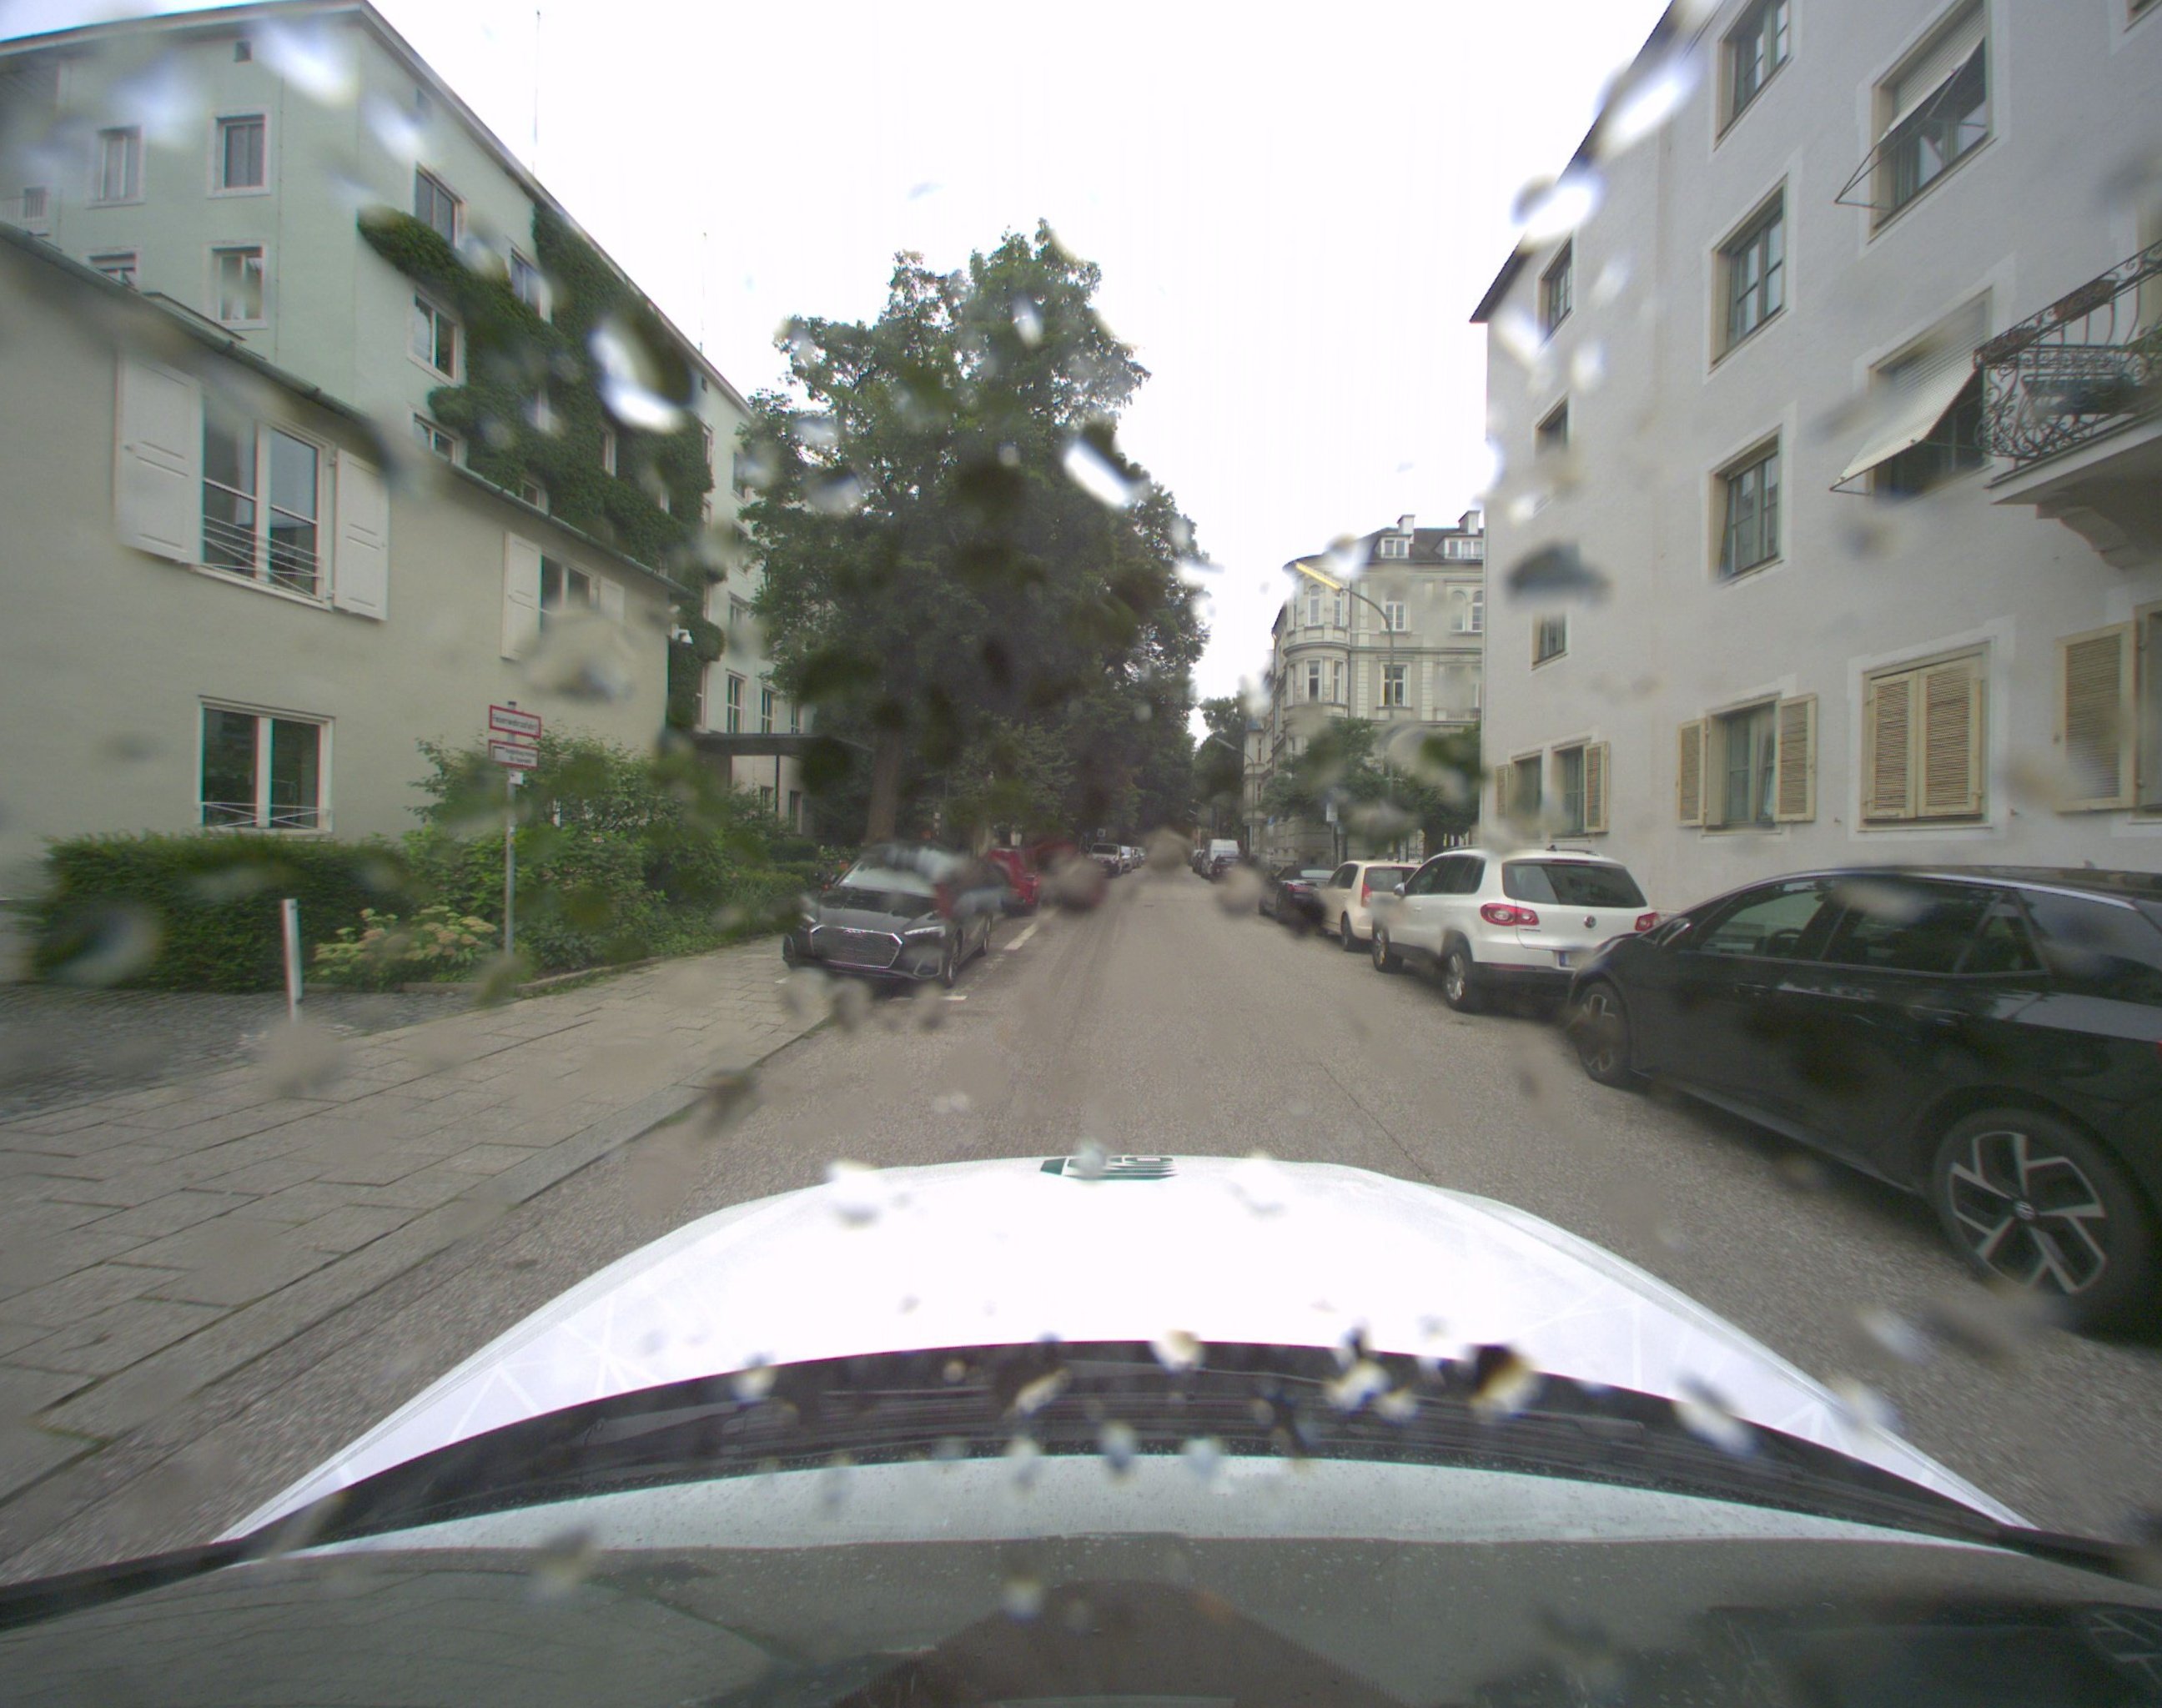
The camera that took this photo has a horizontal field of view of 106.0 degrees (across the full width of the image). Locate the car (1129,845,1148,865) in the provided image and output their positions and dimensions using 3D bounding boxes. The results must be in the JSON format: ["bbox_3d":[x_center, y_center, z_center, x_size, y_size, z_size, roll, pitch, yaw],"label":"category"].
[{"bbox_3d":[6.589,0.071,93.028,1.993,2.186,4.702,2,0,5],"label":"car"}]

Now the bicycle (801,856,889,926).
[{"bbox_3d":[-4.149,0.615,14.482,0.645,1.130,2.053,0,0,10],"label":"bicycle"}]

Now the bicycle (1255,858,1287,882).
[{"bbox_3d":[8.731,0.730,37.515,0.654,1.028,2.195,0,1,-10],"label":"bicycle"}]

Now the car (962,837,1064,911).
[{"bbox_3d":[-1.574,0.440,20.447,1.879,1.590,4.532,2,0,3],"label":"car"}]

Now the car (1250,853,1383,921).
[{"bbox_3d":[5.319,0.678,19.037,1.991,1.319,4.599,-2,0,3],"label":"car"}]

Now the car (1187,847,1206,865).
[{"bbox_3d":[12.907,0.171,90.911,1.982,1.975,4.009,0,0,8],"label":"car"}]

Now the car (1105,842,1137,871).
[{"bbox_3d":[2.978,0.159,60.161,2.174,1.956,5.171,2,0,3],"label":"car"}]

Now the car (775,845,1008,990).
[{"bbox_3d":[-2.138,0.632,10.718,1.801,1.402,4.925,2,0,1],"label":"car"}]

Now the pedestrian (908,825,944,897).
[{"bbox_3d":[-4.167,0.185,21.906,0.709,1.852,0.798,2,0,4],"label":"pedestrian"}]

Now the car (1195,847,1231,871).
[{"bbox_3d":[9.184,0.346,56.845,2.128,1.630,4.321,-1,0,4],"label":"car"}]

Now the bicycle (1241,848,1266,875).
[{"bbox_3d":[10.015,0.413,47.379,0.708,1.515,2.031,1,0,-11],"label":"bicycle"}]

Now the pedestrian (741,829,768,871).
[{"bbox_3d":[-14.027,-0.166,34.988,0.747,1.753,0.901,1,-1,1],"label":"pedestrian"}]

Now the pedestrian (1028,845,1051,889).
[{"bbox_3d":[-1.496,0.481,29.638,0.711,1.548,0.752,3,0,0],"label":"pedestrian"}]

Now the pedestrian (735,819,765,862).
[{"bbox_3d":[-13.825,-0.559,34.067,0.894,1.752,0.753,1,0,2],"label":"pedestrian"}]

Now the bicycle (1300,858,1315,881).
[{"bbox_3d":[10.989,0.749,39.561,0.427,1.028,1.895,0,1,7],"label":"bicycle"}]

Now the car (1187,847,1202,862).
[{"bbox_3d":[15.364,0.005,109.985,1.982,2.013,4.009,0,0,8],"label":"car"}]

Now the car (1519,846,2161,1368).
[{"bbox_3d":[4.241,0.729,4.256,1.830,1.531,4.421,0,0,5],"label":"car"}]

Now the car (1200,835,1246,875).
[{"bbox_3d":[8.299,0.073,48.032,2.194,2.208,4.861,-1,0,4],"label":"car"}]

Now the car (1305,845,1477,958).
[{"bbox_3d":[5.186,0.712,14.155,1.762,1.546,3.717,5,1,5],"label":"car"}]

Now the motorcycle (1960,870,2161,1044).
[{"bbox_3d":[8.257,0.778,6.321,0.729,1.239,2.009,2,0,2],"label":"motorcycle"}]

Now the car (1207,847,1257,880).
[{"bbox_3d":[7.553,0.449,41.095,2.260,1.546,4.597,-1,0,8],"label":"car"}]

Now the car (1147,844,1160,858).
[{"bbox_3d":[11.817,-0.552,132.860,2.039,2.154,4.317,2,0,3],"label":"car"}]

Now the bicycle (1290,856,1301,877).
[{"bbox_3d":[11.343,0.646,43.104,0.542,1.060,1.757,1,0,15],"label":"bicycle"}]

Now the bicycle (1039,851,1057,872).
[{"bbox_3d":[-1.802,0.429,45.063,0.629,1.102,1.771,2,0,8],"label":"bicycle"}]

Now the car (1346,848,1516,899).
[{"bbox_3d":[11.668,0.632,27.395,4.885,1.531,1.915,0,3,3],"label":"car"}]

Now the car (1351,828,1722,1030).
[{"bbox_3d":[4.809,0.651,9.542,1.985,1.707,4.539,3,1,4],"label":"car"}]

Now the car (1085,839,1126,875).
[{"bbox_3d":[1.553,0.146,48.501,2.238,1.956,5.458,2,0,3],"label":"car"}]

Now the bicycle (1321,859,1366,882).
[{"bbox_3d":[12.279,0.785,38.120,1.912,1.028,0.558,0,1,8],"label":"bicycle"}]

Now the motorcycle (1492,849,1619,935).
[{"bbox_3d":[8.697,0.639,15.109,0.854,1.433,2.708,1,0,2],"label":"motorcycle"}]
